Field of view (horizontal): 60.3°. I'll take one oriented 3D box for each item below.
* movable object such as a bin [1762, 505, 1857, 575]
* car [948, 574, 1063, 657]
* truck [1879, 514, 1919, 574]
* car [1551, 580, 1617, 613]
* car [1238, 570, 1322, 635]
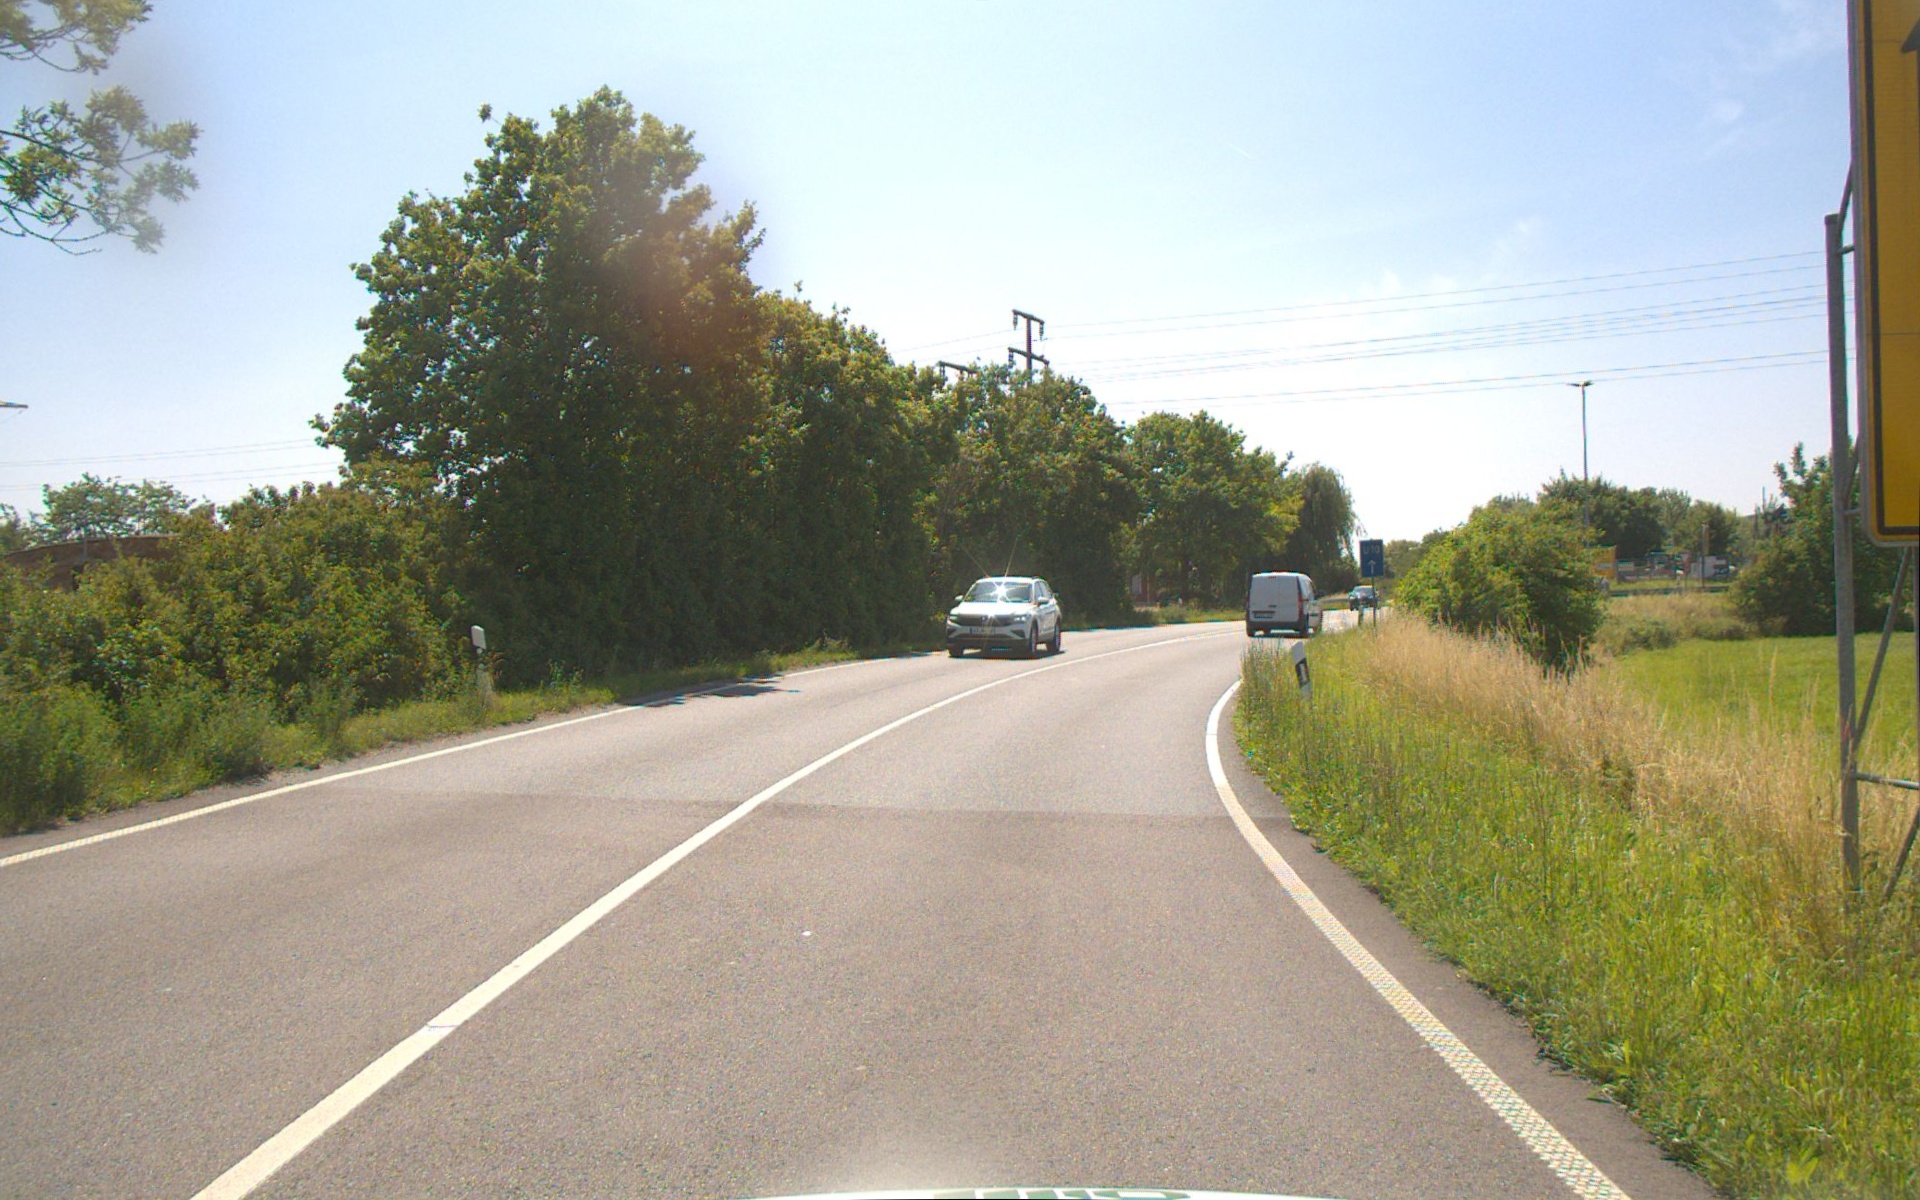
[{"bbox_3d":[67.222,-4.690,131.095,6.459,5.238,3.804,0,-2,24],"label":"movable object such as a bin"},{"bbox_3d":[1.059,0.288,35.622,1.815,1.629,4.782,1,1,9],"label":"car"},{"bbox_3d":[56.297,-3.099,91.939,8.587,3.192,3.110,0,-1,7],"label":"truck"},{"bbox_3d":[40.132,-0.205,106.483,3.904,2.049,2.000,0,-1,20],"label":"car"},{"bbox_3d":[9.321,0.069,48.050,1.864,1.763,3.824,-1,0,19],"label":"car"}]
